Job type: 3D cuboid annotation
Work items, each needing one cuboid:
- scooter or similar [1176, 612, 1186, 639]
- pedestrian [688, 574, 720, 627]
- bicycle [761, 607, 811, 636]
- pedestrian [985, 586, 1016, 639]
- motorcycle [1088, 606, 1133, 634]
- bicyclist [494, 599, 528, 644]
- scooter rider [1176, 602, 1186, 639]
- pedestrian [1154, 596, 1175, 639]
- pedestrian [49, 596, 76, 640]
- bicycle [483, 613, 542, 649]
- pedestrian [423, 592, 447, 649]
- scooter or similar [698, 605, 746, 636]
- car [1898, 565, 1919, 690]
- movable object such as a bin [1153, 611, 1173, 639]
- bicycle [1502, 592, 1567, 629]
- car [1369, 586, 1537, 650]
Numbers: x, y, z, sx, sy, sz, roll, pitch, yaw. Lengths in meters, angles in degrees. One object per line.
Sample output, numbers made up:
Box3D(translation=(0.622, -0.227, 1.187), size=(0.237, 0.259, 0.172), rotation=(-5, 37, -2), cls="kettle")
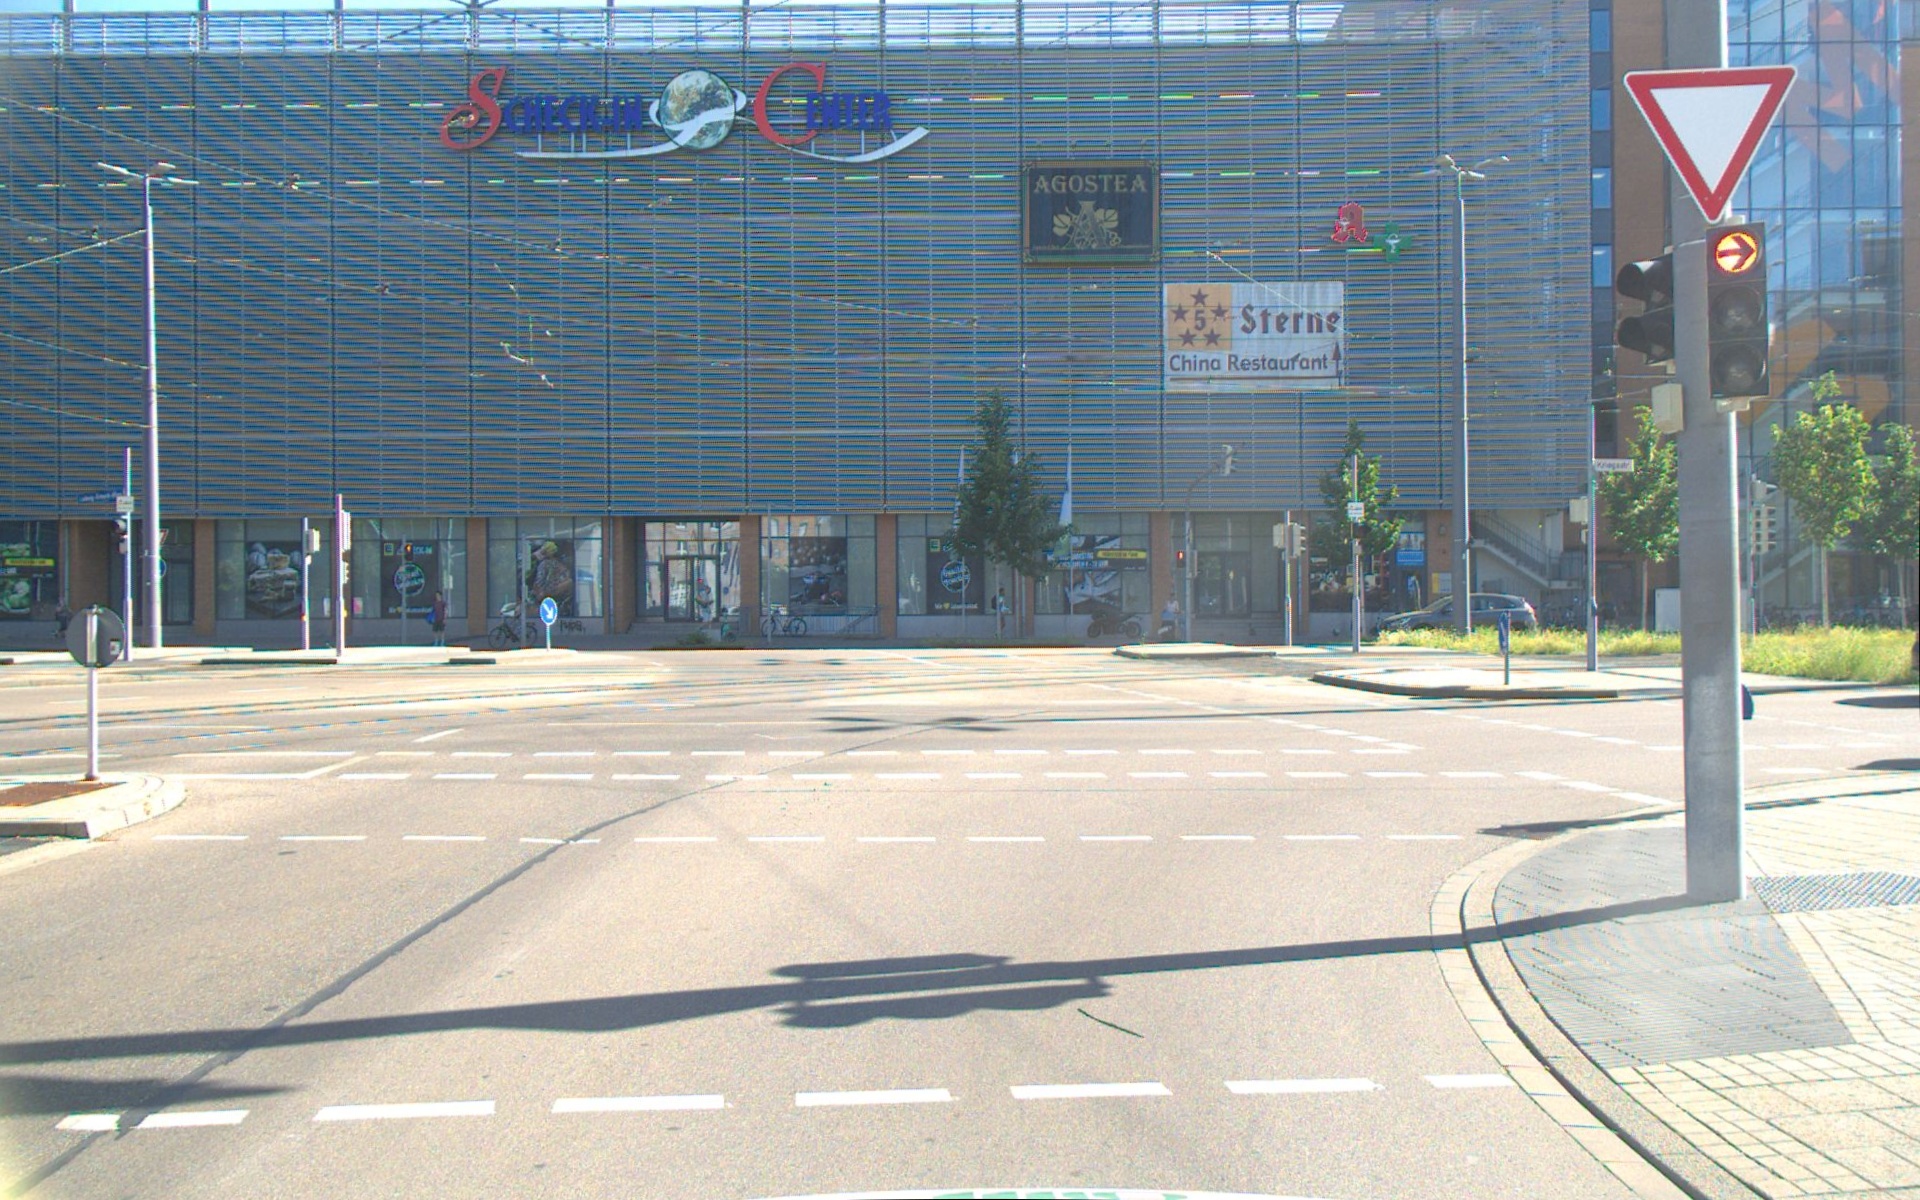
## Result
Box3D(translation=(7.369, 0.836, 55.190), size=(0.288, 0.888, 1.004), rotation=(1, 0, 10), cls="scooter or similar")
Box3D(translation=(-9.252, 0.023, 59.771), size=(0.930, 1.860, 0.846), rotation=(-2, 0, 5), cls="pedestrian")
Box3D(translation=(-6.362, 0.782, 60.434), size=(1.783, 1.006, 0.556), rotation=(0, 1, -11), cls="bicycle")
Box3D(translation=(1.454, 0.434, 59.194), size=(0.991, 1.860, 1.036), rotation=(-2, 0, 3), cls="pedestrian")
Box3D(translation=(5.532, 0.730, 60.708), size=(1.605, 1.022, 0.447), rotation=(1, 0, 6), cls="motorcycle")
Box3D(translation=(-14.796, 0.694, 54.546), size=(0.663, 1.452, 0.844), rotation=(0, 2, 42), cls="bicyclist")
Box3D(translation=(7.363, 0.670, 55.131), size=(0.282, 1.221, 0.386), rotation=(1, -1, 10), cls="scooter rider")
Box3D(translation=(6.860, 0.580, 55.364), size=(0.641, 1.438, 0.850), rotation=(1, 0, 10), cls="pedestrian")
Box3D(translation=(-33.719, 0.689, 62.145), size=(0.646, 1.629, 0.594), rotation=(1, -1, 18), cls="pedestrian")
Box3D(translation=(-14.764, 1.010, 54.621), size=(0.559, 1.105, 1.852), rotation=(0, 2, 42), cls="bicycle")
Box3D(translation=(-17.336, 0.666, 54.670), size=(0.683, 1.829, 0.727), rotation=(-2, 0, -17), cls="pedestrian")
Box3D(translation=(-8.743, 0.751, 60.781), size=(1.759, 1.085, 0.611), rotation=(0, 1, -9), cls="scooter or similar")
Box3D(translation=(14.659, 0.363, 21.924), size=(3.619, 1.674, 1.644), rotation=(0, 0, -7), cls="car")
Box3D(translation=(6.744, 0.834, 54.898), size=(0.599, 0.920, 0.970), rotation=(1, 0, 10), cls="movable object such as a bin")
Box3D(translation=(21.292, 0.393, 61.352), size=(2.209, 1.318, 0.605), rotation=(1, -1, -2), cls="bicycle")
Box3D(translation=(13.672, 0.499, 46.046), size=(4.063, 1.495, 1.840), rotation=(3, -1, -2), cls="car")
